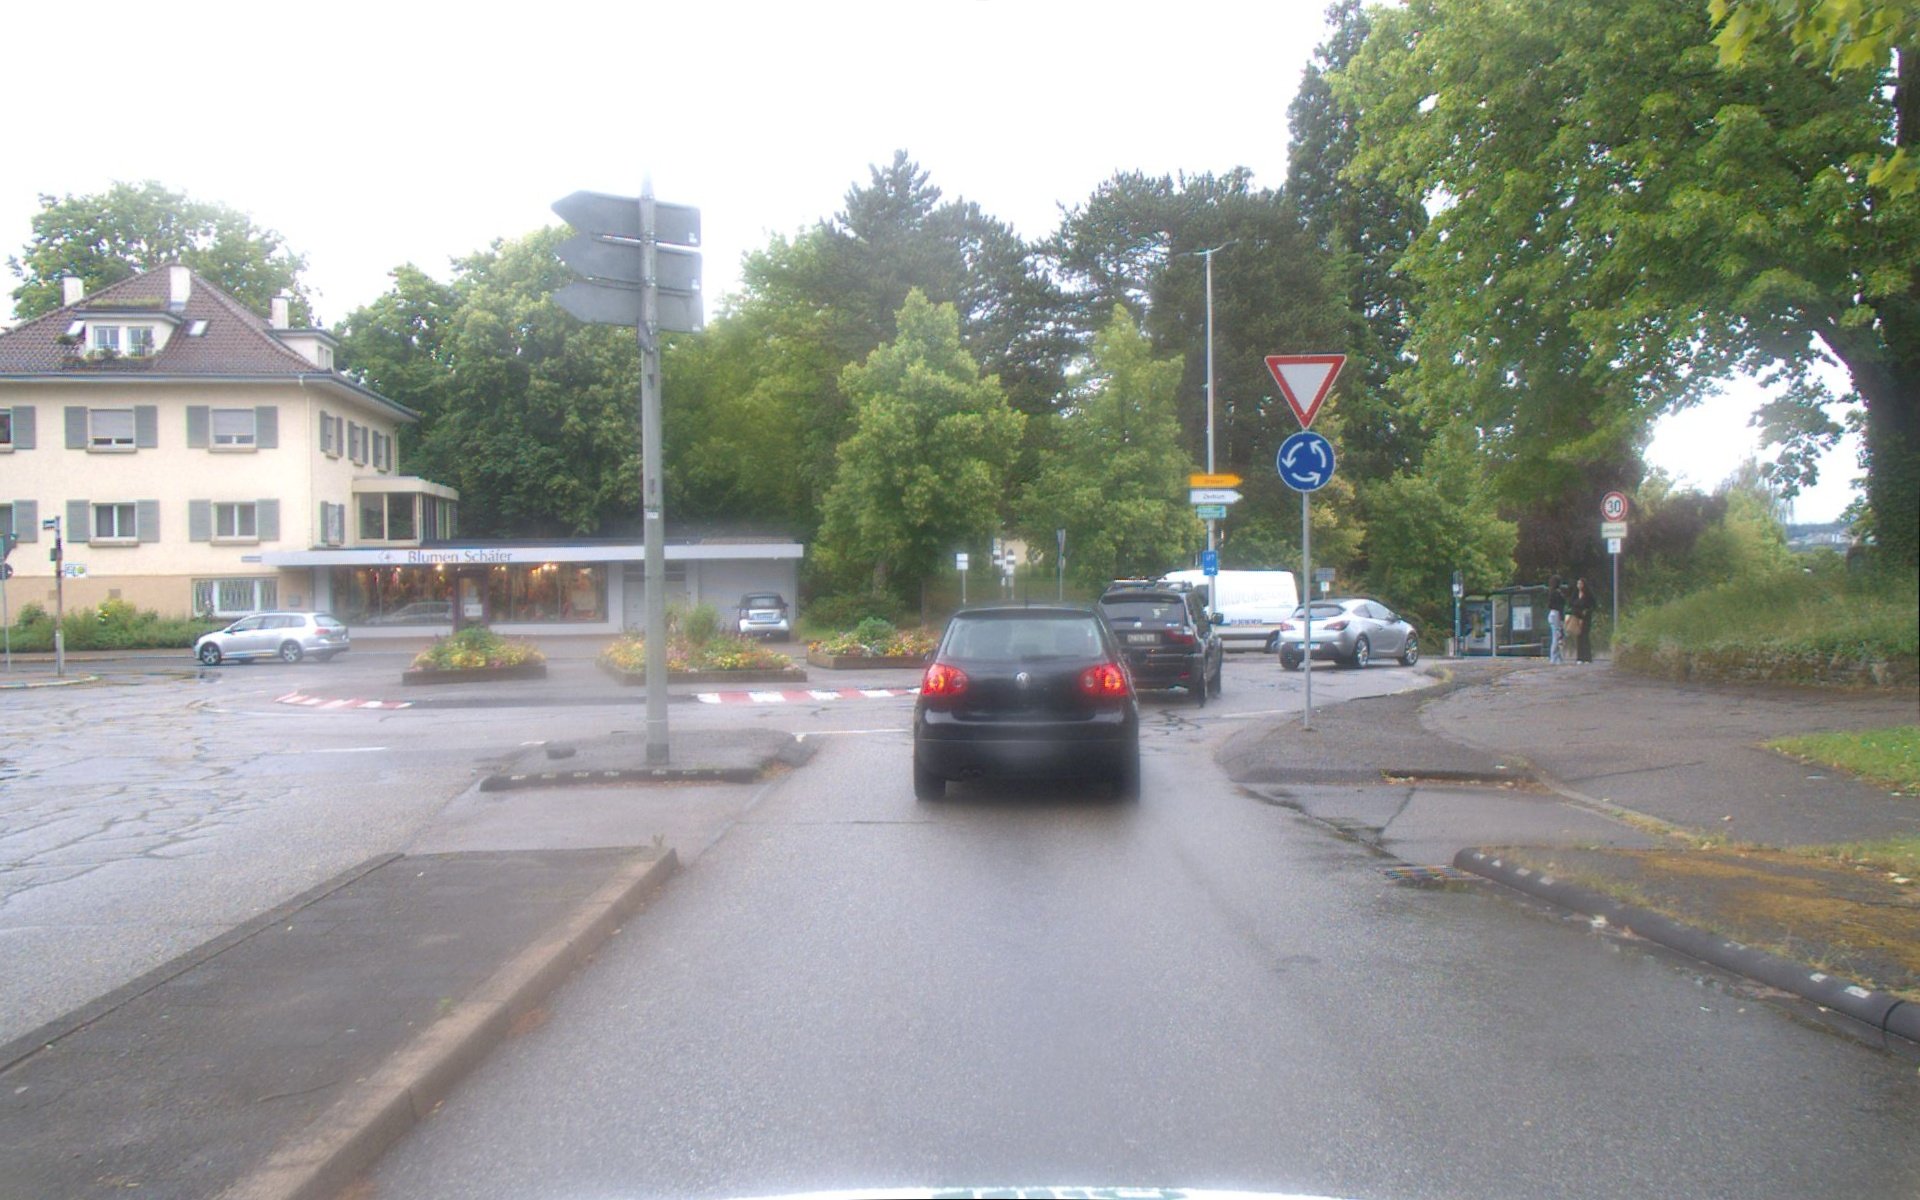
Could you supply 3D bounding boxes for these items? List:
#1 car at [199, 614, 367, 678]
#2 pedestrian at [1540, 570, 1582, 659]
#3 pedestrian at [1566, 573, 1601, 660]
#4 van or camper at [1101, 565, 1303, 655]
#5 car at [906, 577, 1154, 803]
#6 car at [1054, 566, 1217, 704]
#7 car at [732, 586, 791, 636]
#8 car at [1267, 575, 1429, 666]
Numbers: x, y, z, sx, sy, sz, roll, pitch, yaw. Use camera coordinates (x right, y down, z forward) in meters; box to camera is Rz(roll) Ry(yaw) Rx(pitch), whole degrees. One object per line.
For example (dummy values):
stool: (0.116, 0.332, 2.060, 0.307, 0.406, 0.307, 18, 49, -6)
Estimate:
car: (-19.615, 1.315, 47.989, 4.042, 1.772, 2.002, 0, -1, 11)
pedestrian: (11.925, 0.288, 32.839, 0.519, 1.743, 0.633, 1, -1, -16)
pedestrian: (12.636, 0.329, 33.525, 0.620, 1.743, 0.530, 0, -1, 15)
van or camper: (6.929, 0.300, 47.077, 5.591, 2.420, 2.179, 1, -1, -30)
car: (0.721, 0.653, 13.656, 1.727, 1.565, 4.003, 0, -1, 7)
car: (2.534, 0.493, 24.841, 1.730, 1.833, 4.243, -2, 0, -3)
car: (-6.587, 0.345, 54.635, 1.779, 1.512, 3.823, -2, 0, -8)
car: (8.467, 0.415, 35.875, 1.737, 1.833, 4.226, -2, -1, 38)
